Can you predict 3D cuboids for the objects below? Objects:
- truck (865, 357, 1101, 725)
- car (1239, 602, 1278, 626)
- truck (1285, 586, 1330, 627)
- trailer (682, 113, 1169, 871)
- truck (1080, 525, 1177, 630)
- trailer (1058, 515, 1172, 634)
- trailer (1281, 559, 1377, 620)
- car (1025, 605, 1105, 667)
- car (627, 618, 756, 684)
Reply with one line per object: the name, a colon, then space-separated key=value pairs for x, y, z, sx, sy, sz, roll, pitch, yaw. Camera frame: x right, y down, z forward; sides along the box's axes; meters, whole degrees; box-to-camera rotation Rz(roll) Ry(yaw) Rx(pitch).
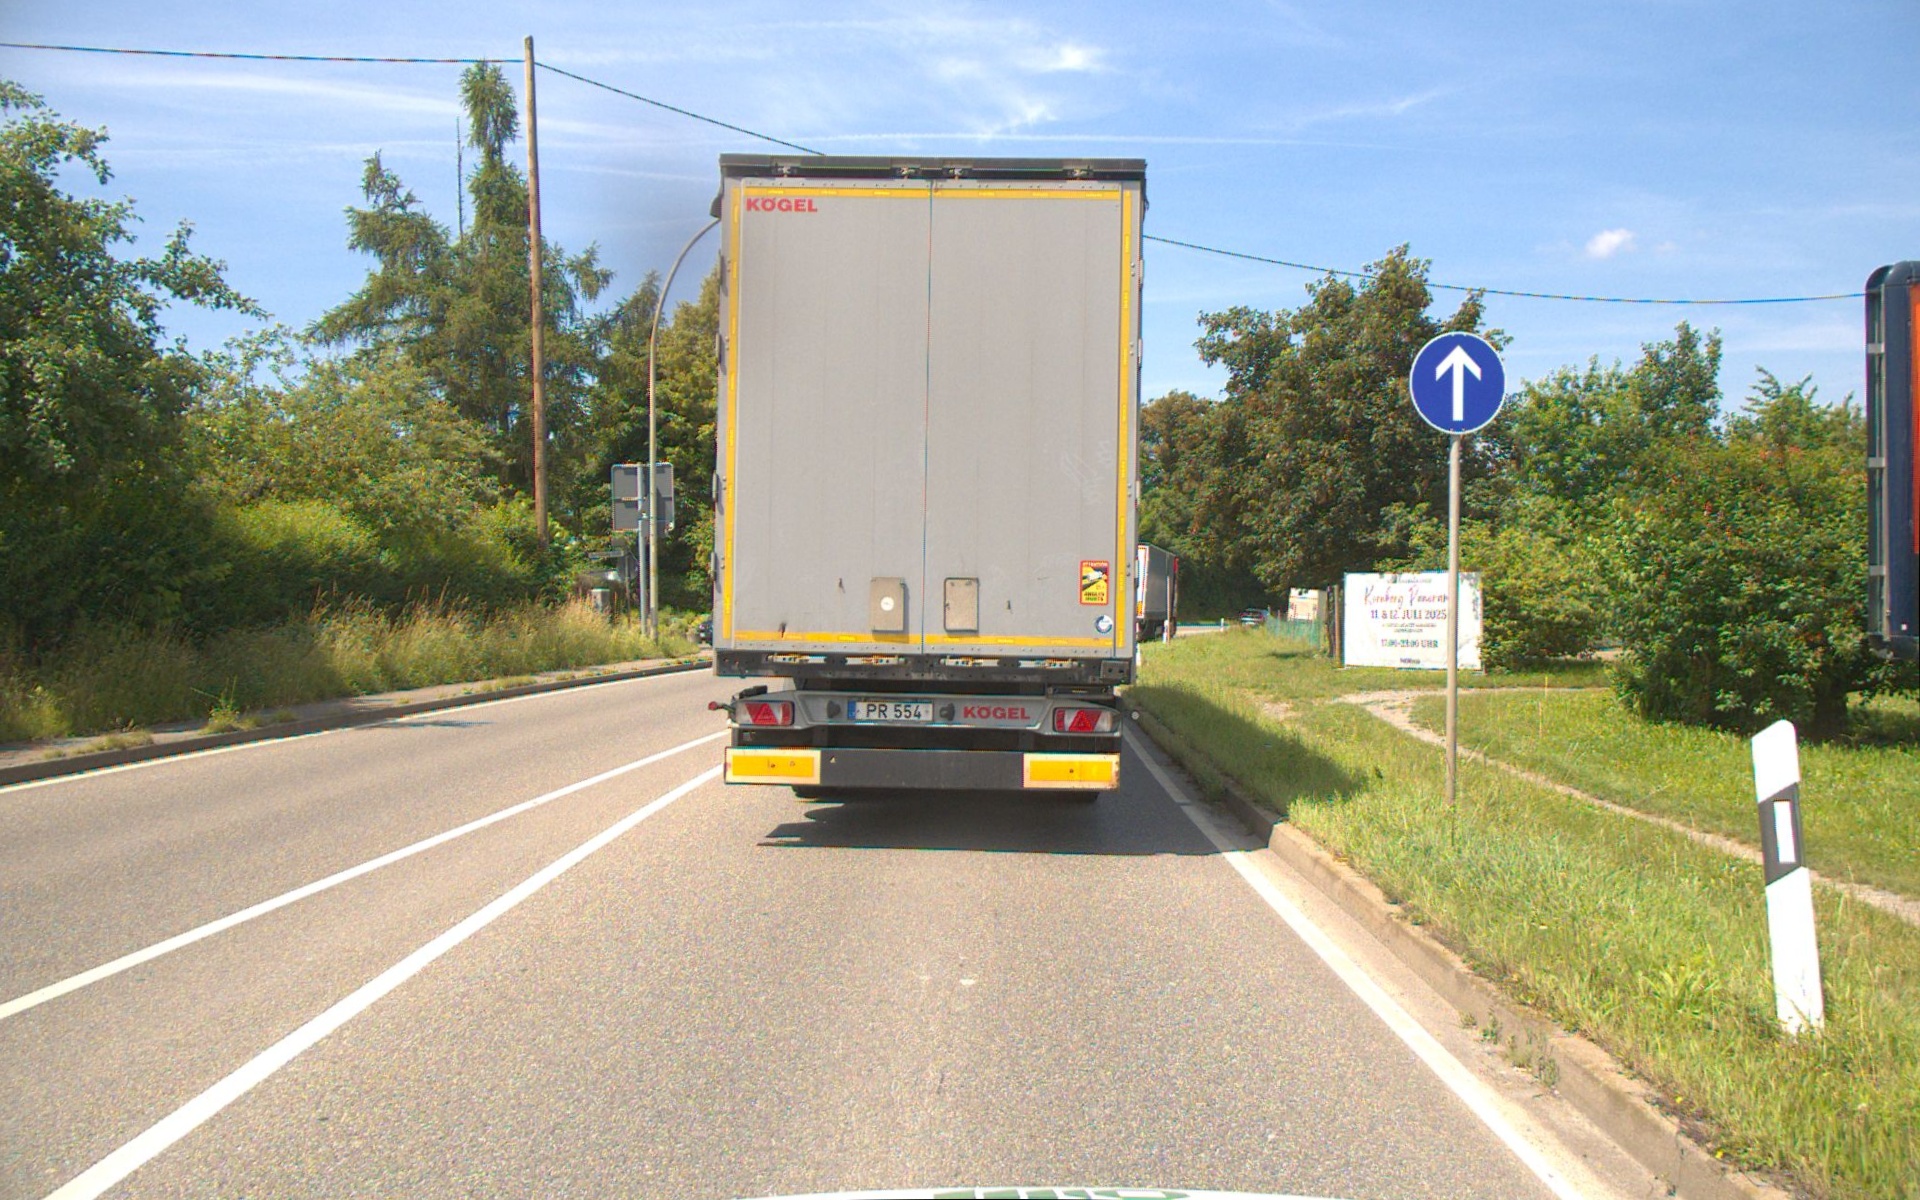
truck: x=0.435 y=-0.722 z=22.214 sx=2.688 sy=4.238 sz=6.146 roll=1 pitch=1 yaw=3
car: x=19.557 y=0.892 z=108.207 sx=1.803 sy=1.512 sz=4.000 roll=0 pitch=1 yaw=21
truck: x=25.290 y=0.467 z=120.149 sx=2.371 sy=2.888 sz=5.412 roll=0 pitch=1 yaw=21
trailer: x=0.090 y=-0.693 z=15.440 sx=2.728 sy=4.278 sz=12.116 roll=1 pitch=1 yaw=3
truck: x=7.975 y=-0.990 z=77.252 sx=3.852 sy=4.655 sz=7.158 roll=0 pitch=0 yaw=11
trailer: x=6.814 y=-1.063 z=70.697 sx=3.808 sy=4.600 sz=12.725 roll=0 pitch=1 yaw=10
trailer: x=30.634 y=-0.868 z=136.426 sx=5.074 sy=4.709 sz=15.892 roll=1 pitch=1 yaw=23
car: x=2.881 y=0.924 z=44.638 sx=1.951 sy=1.557 sz=4.003 roll=1 pitch=0 yaw=6
car: x=-8.799 y=1.638 z=54.035 sx=4.001 sy=2.049 sz=1.992 roll=0 pitch=0 yaw=-15
